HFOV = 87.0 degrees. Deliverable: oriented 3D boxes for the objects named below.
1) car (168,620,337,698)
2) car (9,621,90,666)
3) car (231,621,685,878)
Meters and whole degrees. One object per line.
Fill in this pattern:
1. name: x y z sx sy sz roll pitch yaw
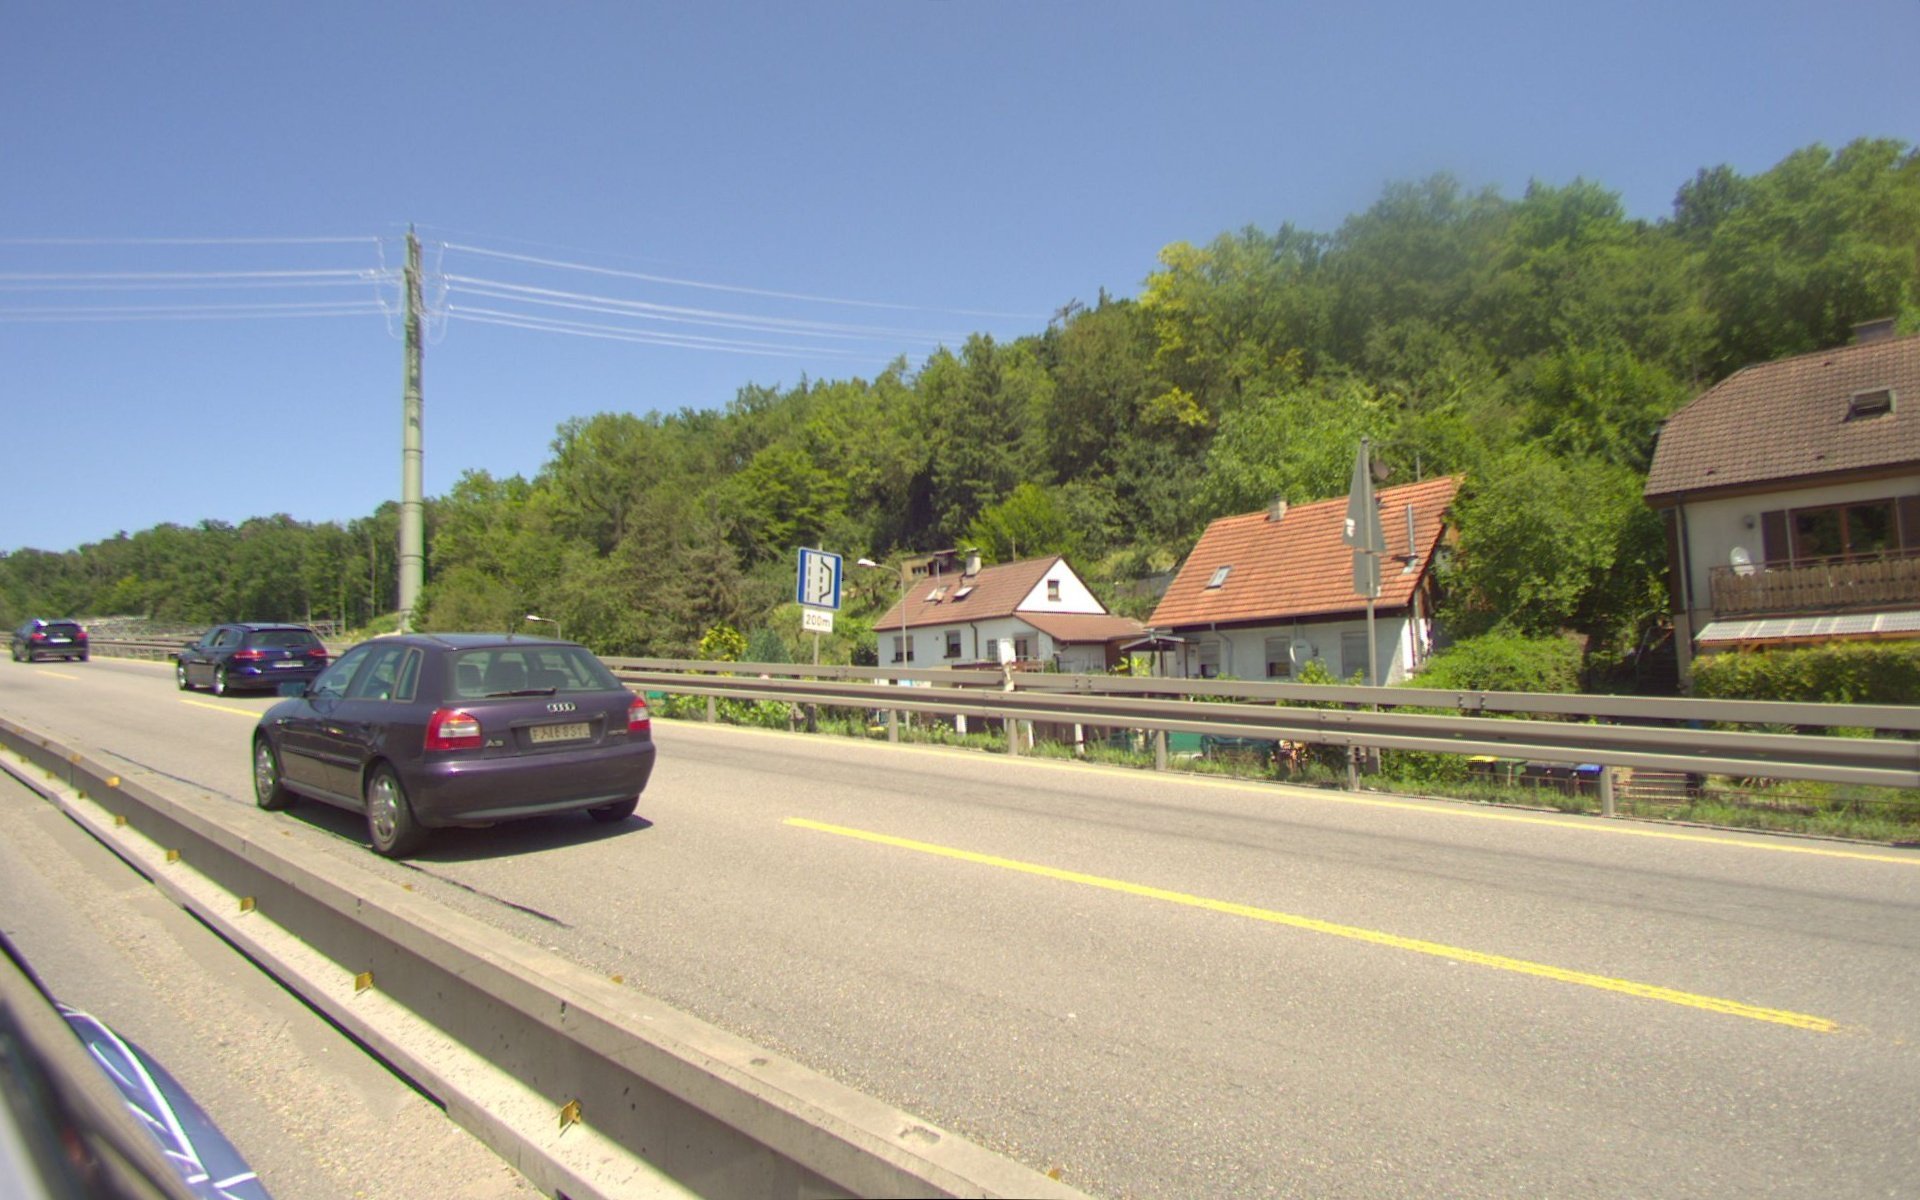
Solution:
1. car: -14.877 1.152 21.183 4.685 1.429 1.822 -1 -2 41
2. car: -33.044 1.588 36.703 3.998 1.501 1.714 -4 -3 41
3. car: -3.918 0.899 7.596 3.999 1.419 1.700 -2 -3 42
